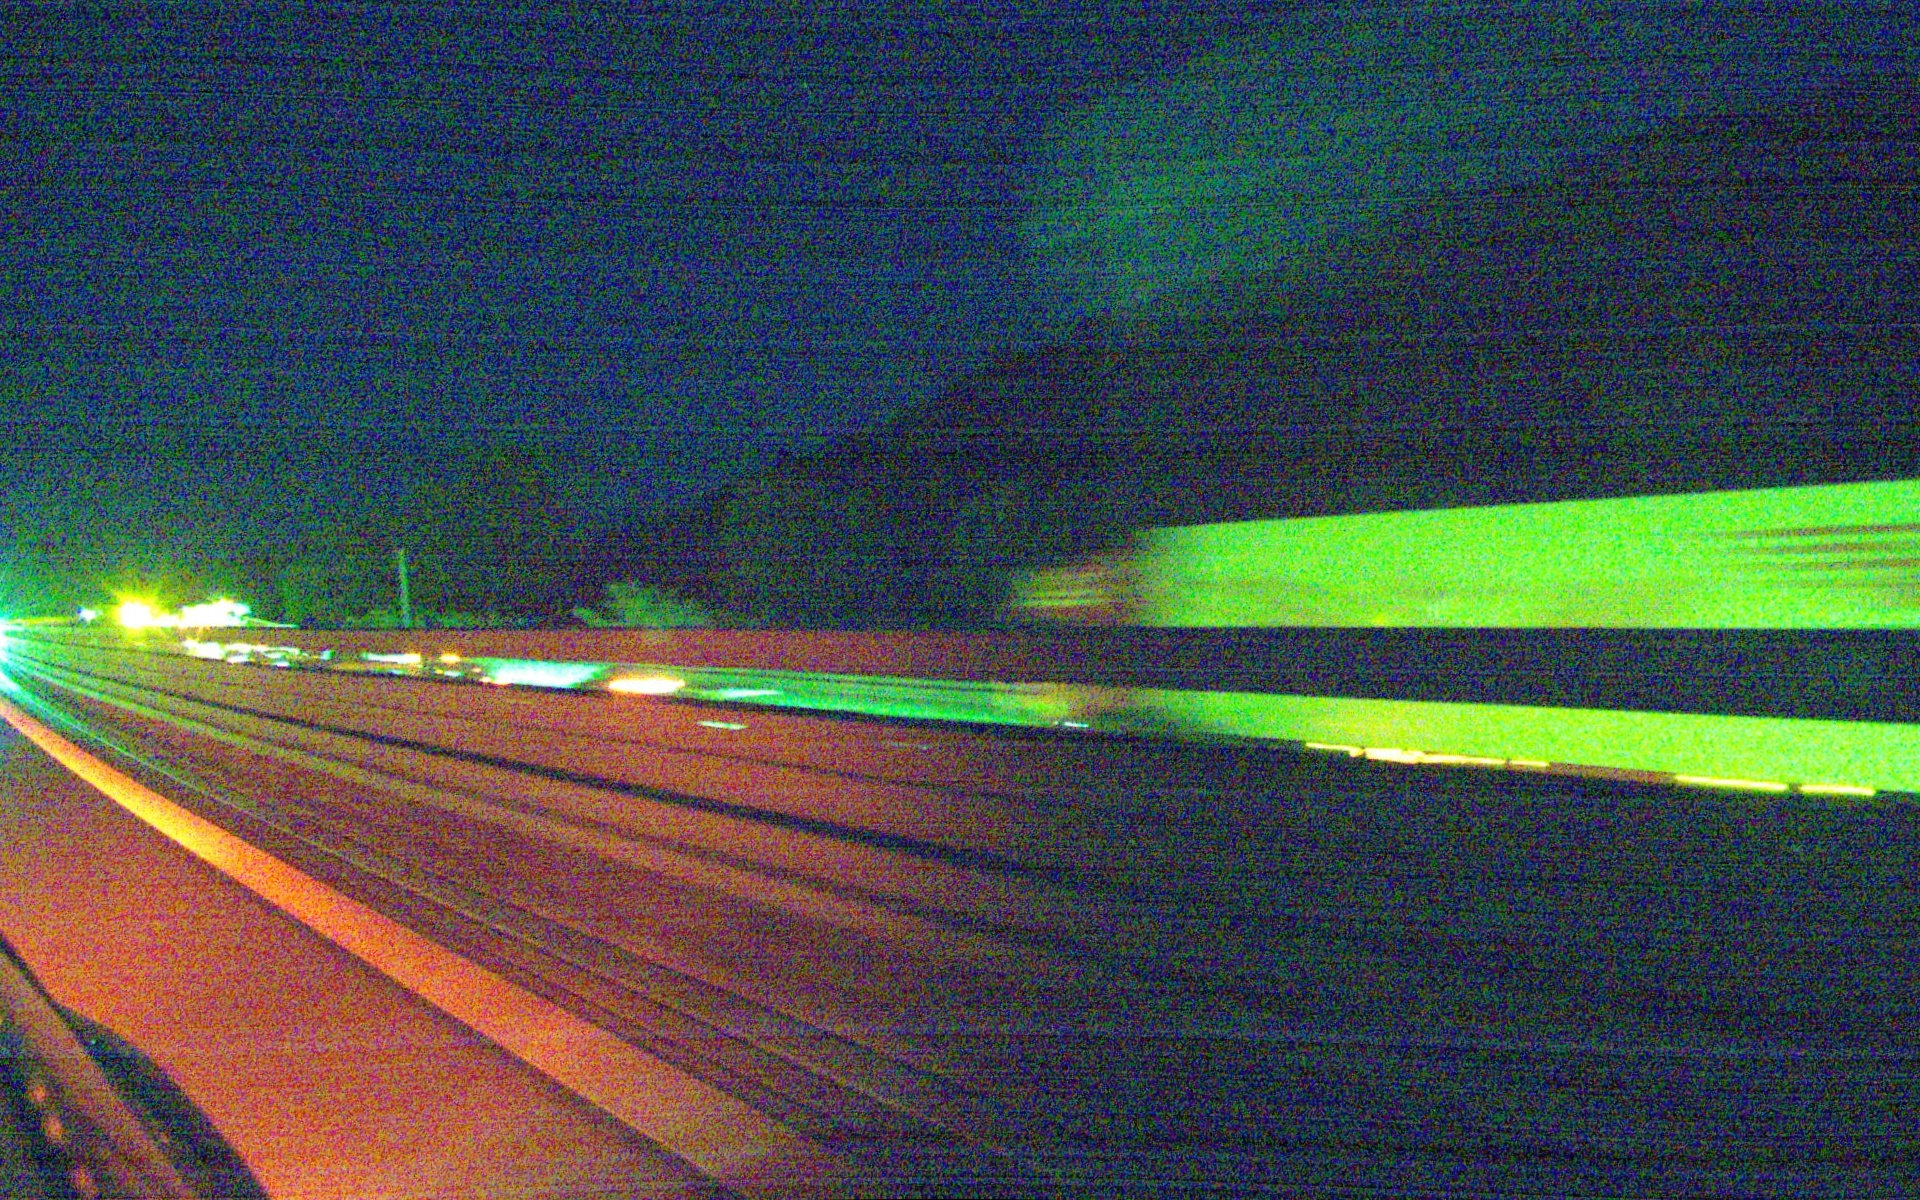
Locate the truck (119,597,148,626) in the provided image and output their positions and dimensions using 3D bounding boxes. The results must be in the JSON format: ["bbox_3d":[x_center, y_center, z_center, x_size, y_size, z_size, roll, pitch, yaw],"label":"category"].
[{"bbox_3d":[-112.596,1.562,137.979,2.569,3.771,6.771,-3,1,-36],"label":"truck"}]

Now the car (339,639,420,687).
[{"bbox_3d":[-27.030,2.883,47.050,2.114,2.070,5.117,2,-2,-43],"label":"car"}]

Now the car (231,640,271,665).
[{"bbox_3d":[-51.316,3.765,73.212,1.927,1.729,4.005,1,-2,-42],"label":"car"}]

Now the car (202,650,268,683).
[{"bbox_3d":[-39.349,3.558,54.881,2.114,1.635,5.115,2,-2,-45],"label":"car"}]

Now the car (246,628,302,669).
[{"bbox_3d":[-44.014,3.036,64.879,2.004,2.460,5.699,-1,0,-45],"label":"car"}]

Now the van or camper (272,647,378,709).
[{"bbox_3d":[-23.243,2.760,36.960,5.221,2.029,1.972,-2,-2,43],"label":"van or camper"}]

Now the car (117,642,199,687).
[{"bbox_3d":[-33.584,2.635,42.303,2.114,1.719,5.115,2,-2,-45],"label":"car"}]

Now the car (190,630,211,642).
[{"bbox_3d":[-90.605,4.256,120.754,1.683,1.387,4.012,0,-1,-31],"label":"car"}]

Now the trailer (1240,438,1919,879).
[{"bbox_3d":[9.933,0.620,11.502,12.825,4.273,3.400,-2,-3,41],"label":"trailer"}]

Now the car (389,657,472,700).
[{"bbox_3d":[-20.721,3.028,39.552,1.816,1.453,4.003,0,-1,-44],"label":"car"}]

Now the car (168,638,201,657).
[{"bbox_3d":[-66.224,4.029,86.404,1.880,1.464,4.717,-1,0,-42],"label":"car"}]

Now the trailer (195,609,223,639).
[{"bbox_3d":[-120.051,3.794,161.831,3.107,4.347,14.848,-3,1,-35],"label":"trailer"}]

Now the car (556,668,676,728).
[{"bbox_3d":[-9.886,2.735,28.951,4.001,1.453,1.582,-2,-2,44],"label":"car"}]

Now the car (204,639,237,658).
[{"bbox_3d":[-69.504,4.540,95.048,2.049,1.647,4.927,-1,0,-42],"label":"car"}]

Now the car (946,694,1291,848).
[{"bbox_3d":[1.939,2.079,13.201,4.251,1.453,1.584,-2,-2,40],"label":"car"}]

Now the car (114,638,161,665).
[{"bbox_3d":[-48.646,3.024,59.838,1.795,1.480,4.282,1,-2,-44],"label":"car"}]

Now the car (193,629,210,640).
[{"bbox_3d":[-112.966,5.195,150.788,1.968,1.502,4.412,-1,0,-37],"label":"car"}]

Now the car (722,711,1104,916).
[{"bbox_3d":[-0.618,2.052,10.641,3.996,1.453,1.584,-1,-2,39],"label":"car"}]

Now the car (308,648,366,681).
[{"bbox_3d":[-33.316,3.425,54.084,1.795,1.569,4.282,1,-2,-44],"label":"car"}]

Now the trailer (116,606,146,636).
[{"bbox_3d":[-108.625,2.686,132.747,2.502,3.741,10.149,-3,1,-37],"label":"trailer"}]

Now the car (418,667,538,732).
[{"bbox_3d":[-12.832,2.572,26.827,4.001,1.453,1.582,-2,-2,44],"label":"car"}]

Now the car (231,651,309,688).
[{"bbox_3d":[-32.437,3.212,47.533,2.114,1.501,5.115,2,-2,-45],"label":"car"}]

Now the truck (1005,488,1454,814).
[{"bbox_3d":[4.236,0.772,16.586,6.279,4.255,3.383,-2,-3,41],"label":"truck"}]

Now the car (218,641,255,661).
[{"bbox_3d":[-57.133,4.025,79.871,1.801,1.469,4.004,3,-3,-43],"label":"car"}]

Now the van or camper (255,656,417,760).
[{"bbox_3d":[-14.403,2.354,23.256,4.576,2.029,2.008,-2,-2,43],"label":"van or camper"}]

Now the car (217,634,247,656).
[{"bbox_3d":[-63.268,3.891,87.919,1.731,1.729,4.005,-1,0,-42],"label":"car"}]

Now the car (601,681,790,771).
[{"bbox_3d":[-5.500,2.483,20.745,4.382,1.453,1.584,-2,-2,41],"label":"car"}]

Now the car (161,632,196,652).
[{"bbox_3d":[-62.654,3.331,81.100,1.795,1.480,4.282,1,-2,-44],"label":"car"}]

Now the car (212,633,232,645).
[{"bbox_3d":[-94.308,4.994,129.339,1.967,1.560,4.149,2,-3,-35],"label":"car"}]
